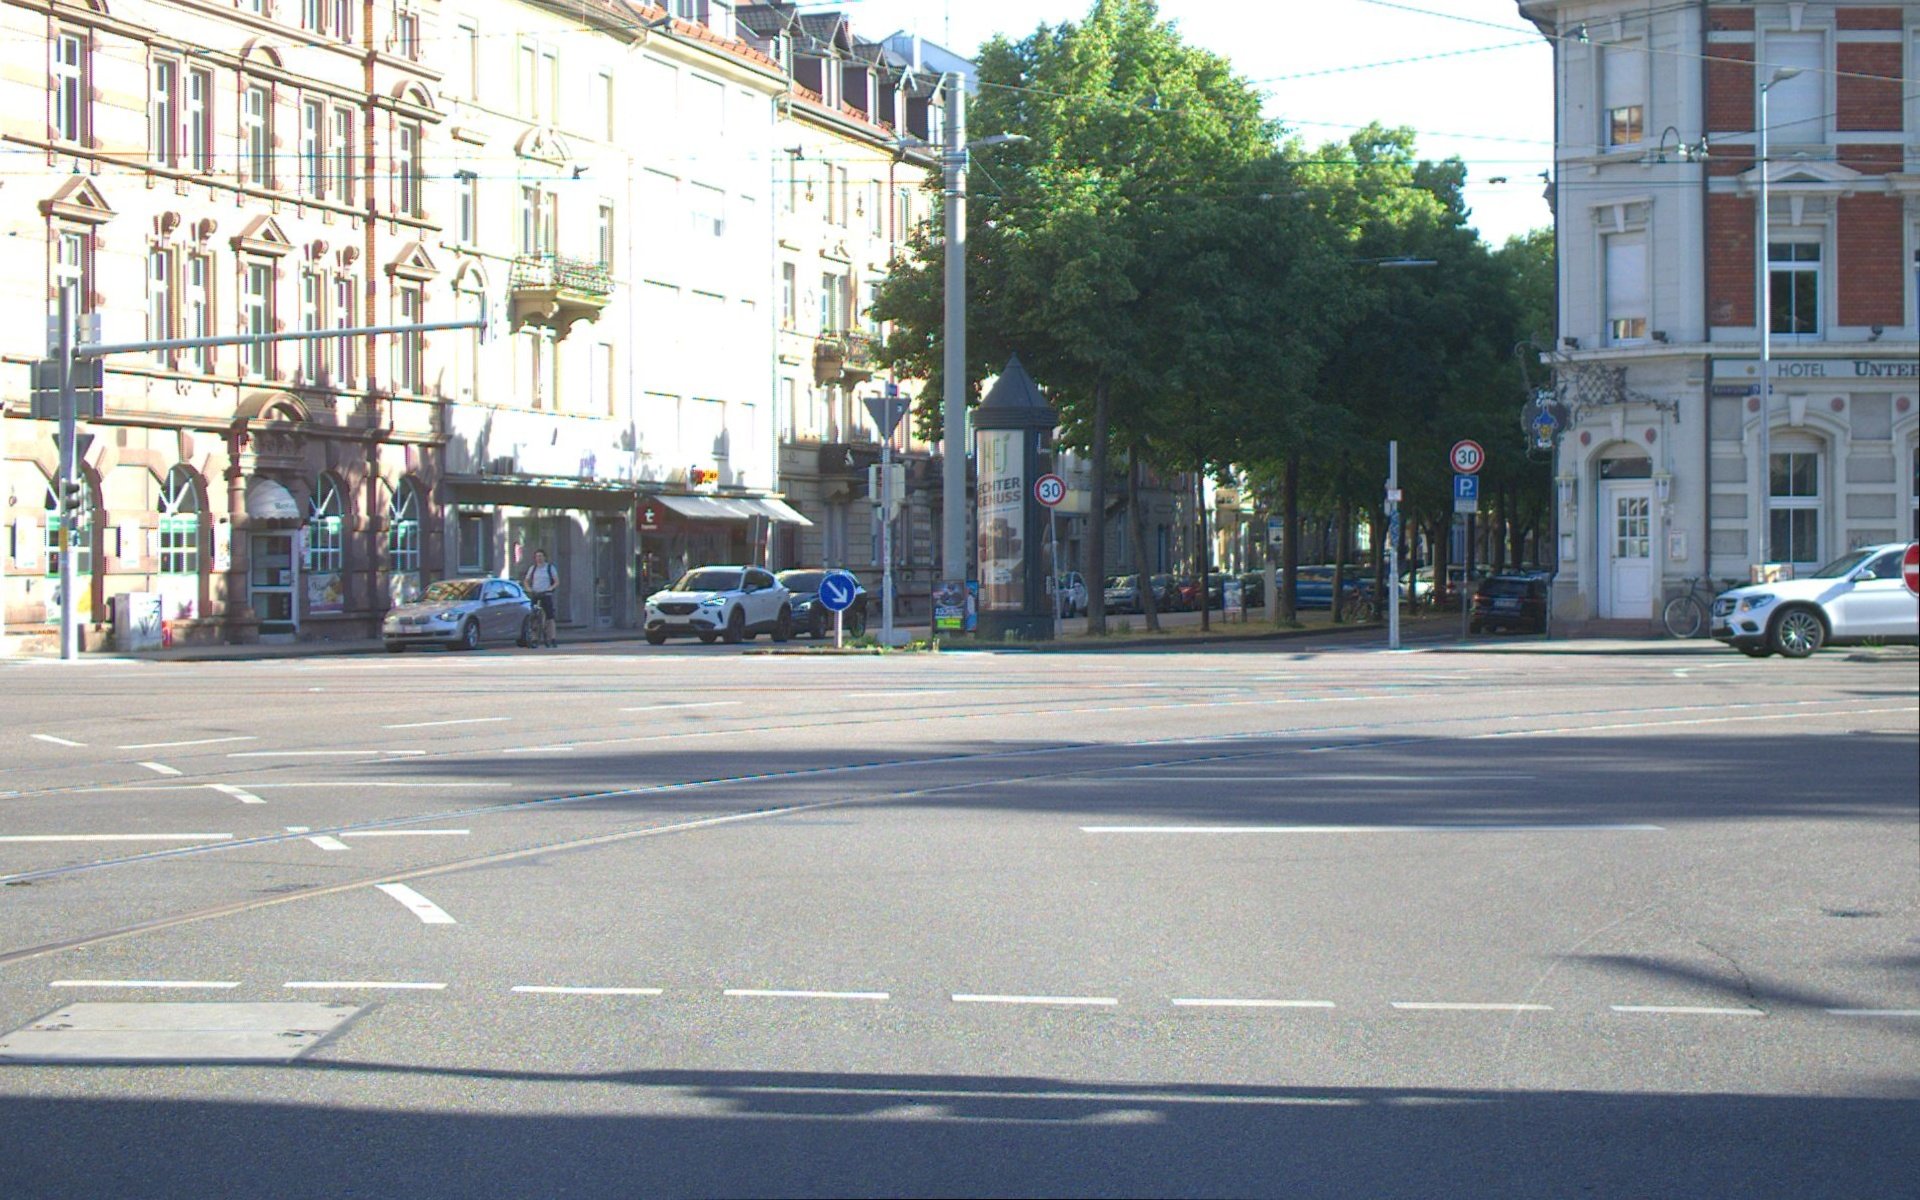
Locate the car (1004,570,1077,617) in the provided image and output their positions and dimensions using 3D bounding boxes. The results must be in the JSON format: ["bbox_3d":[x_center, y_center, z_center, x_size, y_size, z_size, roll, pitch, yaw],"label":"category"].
[{"bbox_3d":[2.596,-0.218,110.006,1.741,1.393,4.122,3,1,9],"label":"car"}]

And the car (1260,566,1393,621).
[{"bbox_3d":[12.290,-0.227,115.230,4.113,1.640,1.745,3,1,15],"label":"car"}]

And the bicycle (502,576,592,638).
[{"bbox_3d":[-7.867,0.126,65.633,0.751,1.131,2.808,0,1,14],"label":"bicycle"}]

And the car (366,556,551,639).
[{"bbox_3d":[-9.777,-0.072,67.384,2.098,1.540,4.361,0,1,14],"label":"car"}]

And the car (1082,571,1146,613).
[{"bbox_3d":[5.506,-0.305,122.788,1.741,1.393,4.122,3,1,9],"label":"car"}]

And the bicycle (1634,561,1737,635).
[{"bbox_3d":[12.061,-0.034,57.139,1.639,1.218,0.606,0,1,16],"label":"bicycle"}]

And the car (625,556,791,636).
[{"bbox_3d":[-4.879,-0.104,67.170,2.098,1.494,3.998,0,1,14],"label":"car"}]

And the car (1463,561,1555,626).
[{"bbox_3d":[13.167,-0.157,82.291,1.652,1.519,3.750,0,0,17],"label":"car"}]

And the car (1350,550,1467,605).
[{"bbox_3d":[17.408,-0.879,133.429,4.115,1.912,1.744,3,1,21],"label":"car"}]

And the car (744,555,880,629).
[{"bbox_3d":[-3.130,-0.192,73.537,1.994,1.508,3.998,0,1,12],"label":"car"}]

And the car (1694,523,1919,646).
[{"bbox_3d":[12.858,-0.236,47.679,4.847,1.654,2.000,0,1,-5],"label":"car"}]

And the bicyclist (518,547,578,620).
[{"bbox_3d":[-7.854,-0.316,65.595,0.794,1.370,1.107,0,1,14],"label":"bicyclist"}]

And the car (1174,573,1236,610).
[{"bbox_3d":[9.725,-0.350,136.391,1.742,1.393,4.121,3,1,13],"label":"car"}]

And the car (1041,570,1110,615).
[{"bbox_3d":[3.920,-0.257,115.810,1.741,1.393,4.122,3,1,9],"label":"car"}]

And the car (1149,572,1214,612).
[{"bbox_3d":[8.507,-0.315,131.612,1.742,1.393,4.121,3,1,13],"label":"car"}]
